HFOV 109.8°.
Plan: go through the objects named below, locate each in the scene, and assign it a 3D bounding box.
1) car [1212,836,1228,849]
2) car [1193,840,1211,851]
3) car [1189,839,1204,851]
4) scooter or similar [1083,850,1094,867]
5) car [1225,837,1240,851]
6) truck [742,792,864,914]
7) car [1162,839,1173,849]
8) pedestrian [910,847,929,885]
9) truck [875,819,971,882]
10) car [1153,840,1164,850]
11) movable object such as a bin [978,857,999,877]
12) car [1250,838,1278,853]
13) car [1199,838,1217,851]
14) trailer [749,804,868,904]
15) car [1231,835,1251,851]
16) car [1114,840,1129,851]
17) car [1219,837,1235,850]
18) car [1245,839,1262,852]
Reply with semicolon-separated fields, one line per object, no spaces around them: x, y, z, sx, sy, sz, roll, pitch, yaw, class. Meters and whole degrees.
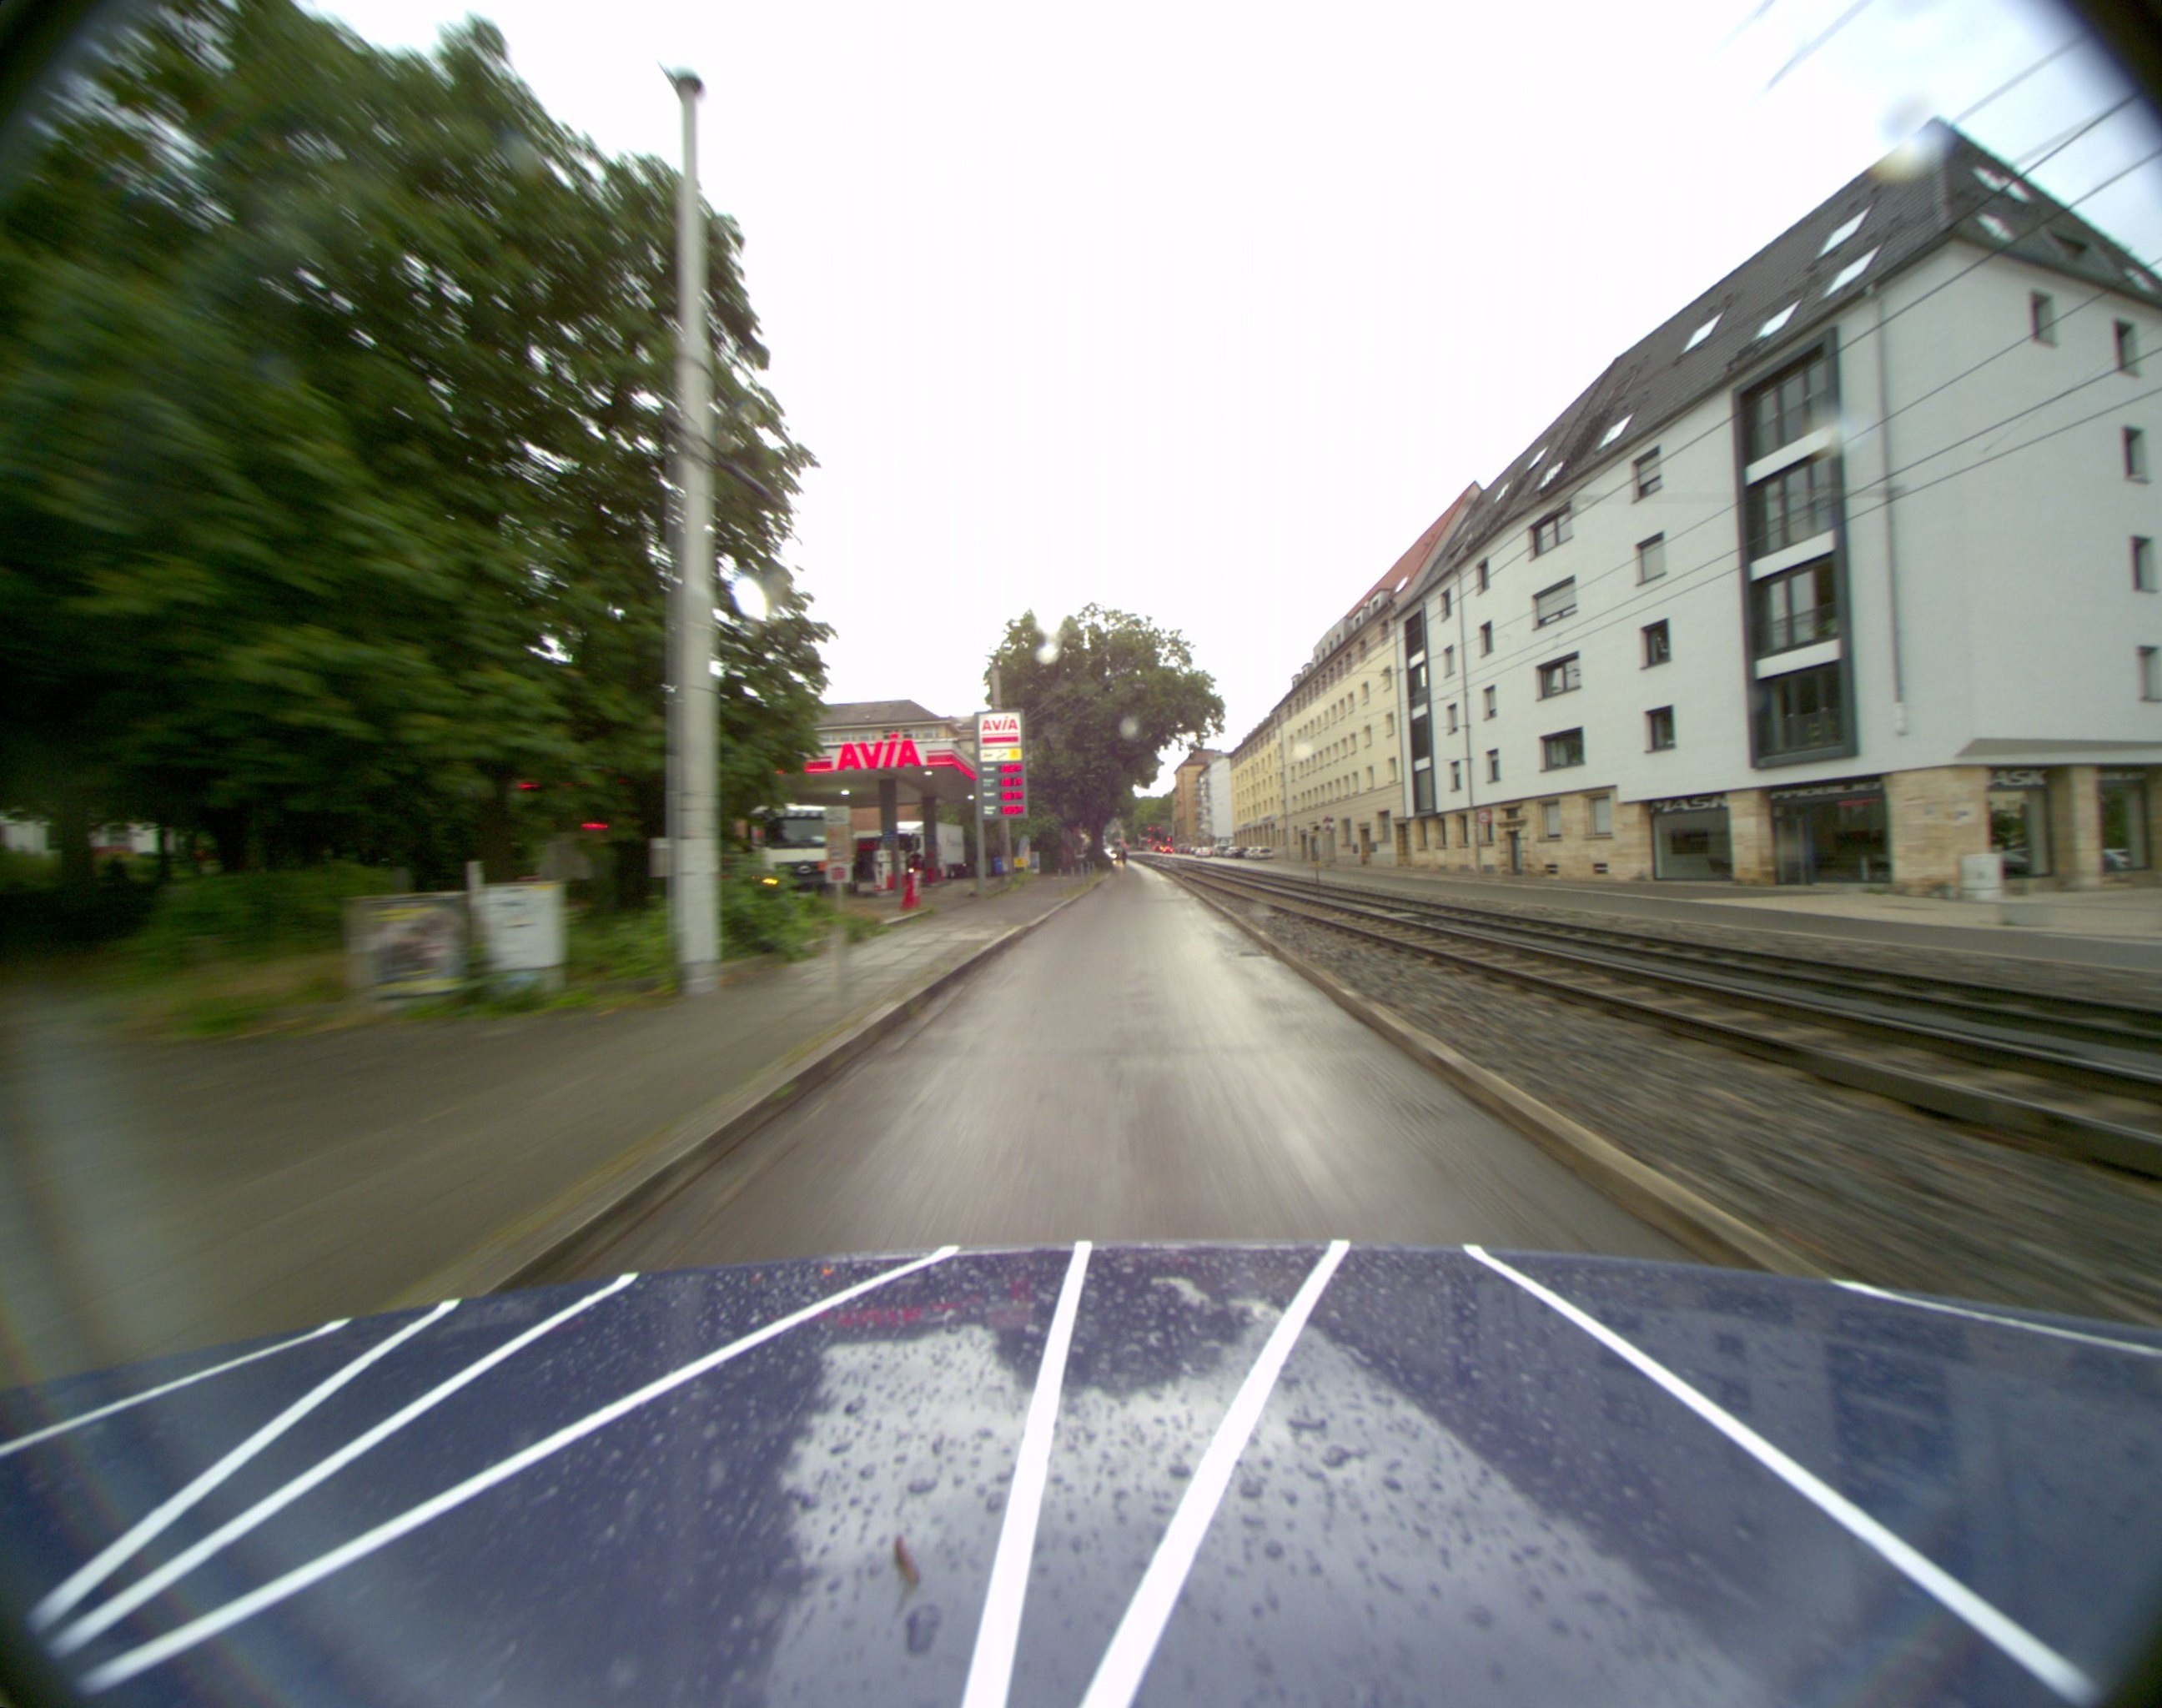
20.752;-1.718;113.659;1.727;1.798;3.591;-1;1;-1;car
17.413;-1.282;109.456;1.691;1.528;5.016;-1;1;-1;car
20.991;-1.691;138.319;2.030;2.002;4.226;-1;1;-1;car
0.584;0.354;58.035;0.400;1.186;1.363;-1;4;16;scooter or similar
20.476;-1.382;102.848;1.377;1.743;3.405;-1;1;-1;car
-9.106;-0.057;24.455;2.841;3.380;6.111;-1;1;-28;truck
18.099;-2.182;158.626;1.949;2.002;4.000;-1;1;2;car
-8.924;0.659;42.064;0.809;2.029;0.651;-1;1;4;pedestrian
-9.658;-0.316;47.933;2.659;3.549;10.258;-1;1;7;truck
19.129;-2.221;187.798;2.183;2.420;4.749;-1;1;2;car
-6.464;0.886;53.096;1.285;1.392;1.074;-1;1;5;movable object such as a bin
20.598;-0.960;85.690;2.030;1.533;3.999;-1;1;-1;car
19.897;-1.547;119.164;2.030;2.002;4.226;-1;1;-1;car
-10.755;-0.112;31.083;2.814;3.376;9.825;-2;1;-10;trailer
20.434;-1.380;97.151;1.729;1.949;4.298;-1;1;1;car
5.782;-1.178;109.042;1.888;1.482;3.850;0;2;6;car
20.572;-1.517;107.292;1.557;1.872;4.040;-1;1;2;car
20.438;-1.013;90.136;1.326;1.476;3.190;-1;1;-1;car
